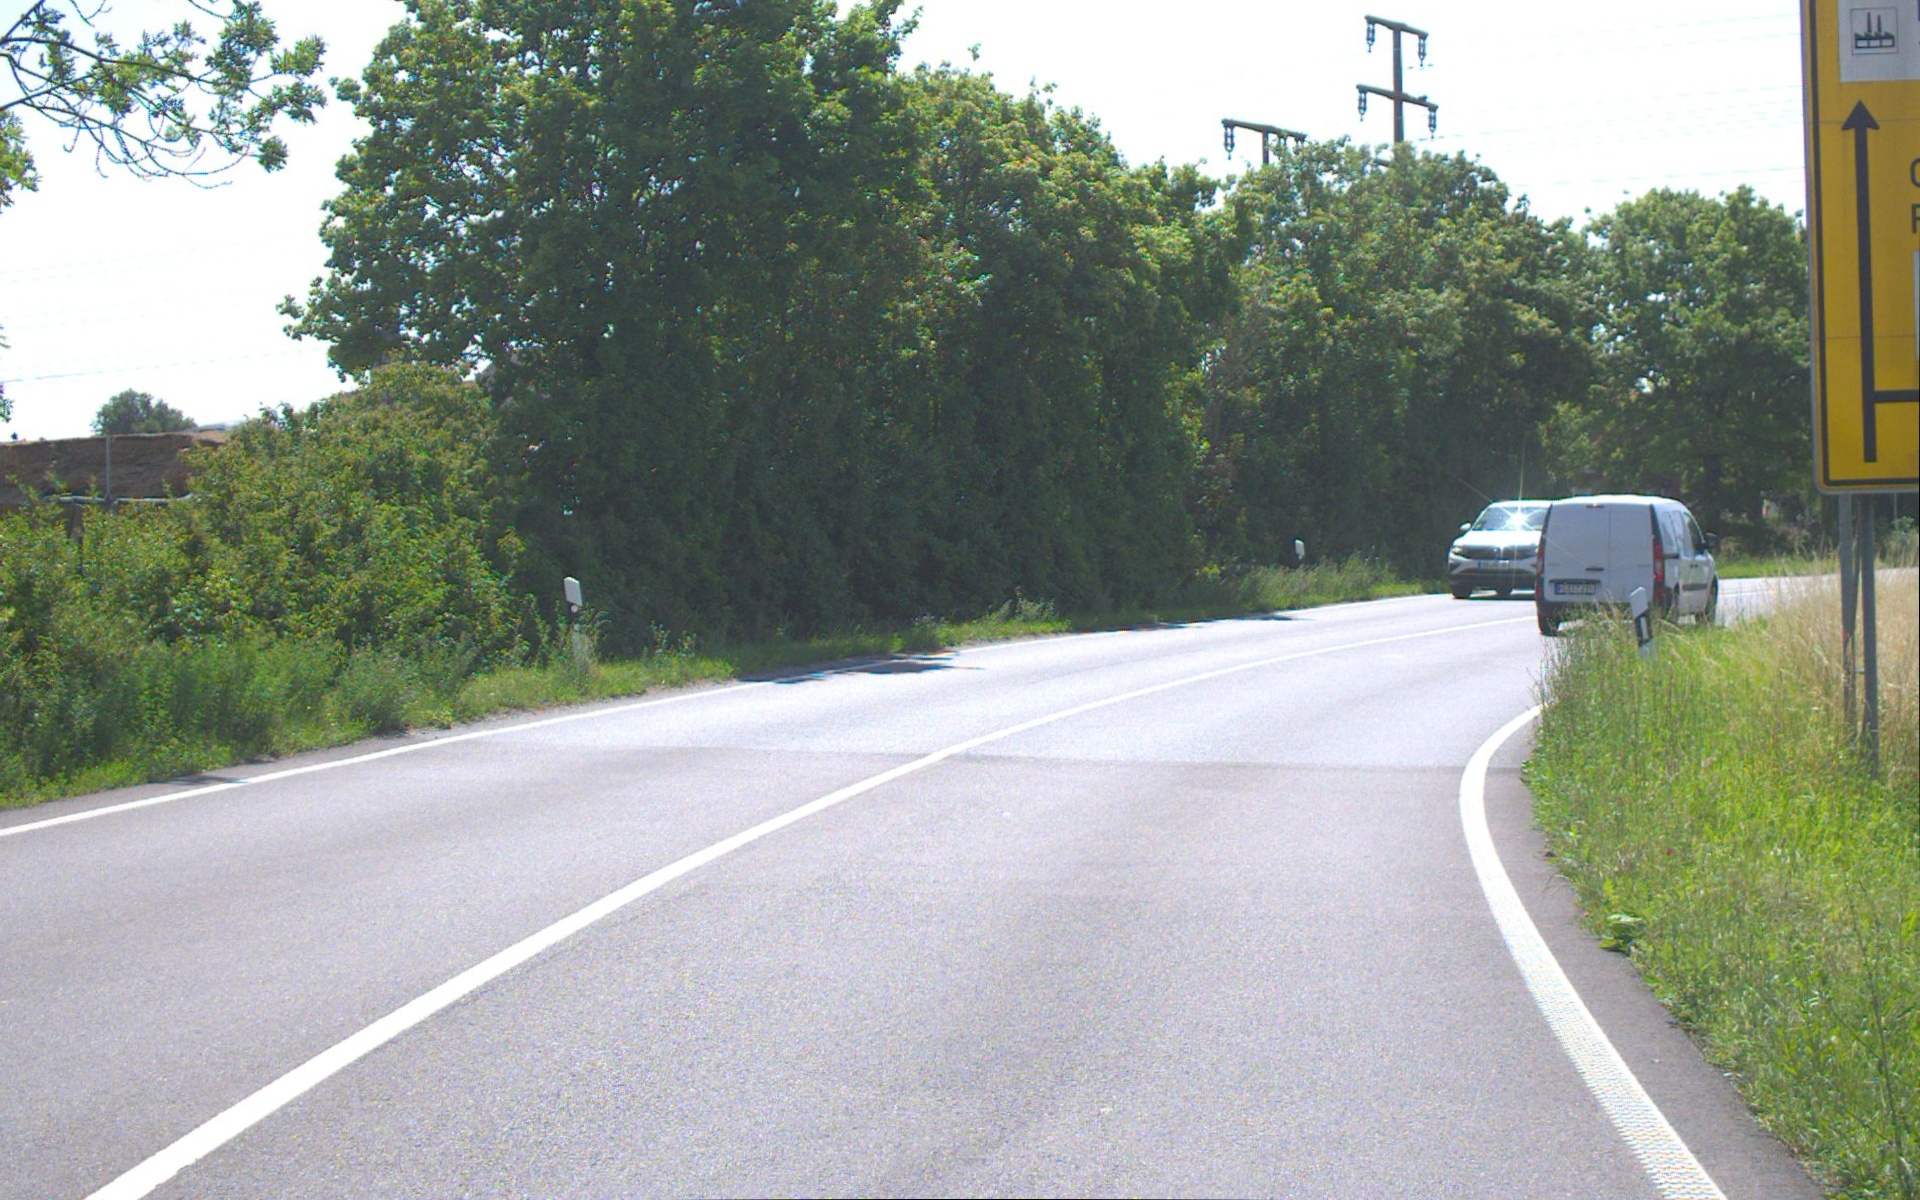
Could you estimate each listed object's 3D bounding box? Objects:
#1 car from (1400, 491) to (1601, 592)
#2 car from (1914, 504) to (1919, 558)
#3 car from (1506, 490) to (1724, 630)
[{"bbox_3d":[9.203,-1.012,58.224,1.858,1.596,4.770,2,2,28],"label":"car"},{"bbox_3d":[29.451,-2.053,101.428,1.743,1.584,3.994,1,2,27],"label":"car"},{"bbox_3d":[8.629,-0.536,45.073,1.906,1.726,3.817,-1,1,25],"label":"car"}]
